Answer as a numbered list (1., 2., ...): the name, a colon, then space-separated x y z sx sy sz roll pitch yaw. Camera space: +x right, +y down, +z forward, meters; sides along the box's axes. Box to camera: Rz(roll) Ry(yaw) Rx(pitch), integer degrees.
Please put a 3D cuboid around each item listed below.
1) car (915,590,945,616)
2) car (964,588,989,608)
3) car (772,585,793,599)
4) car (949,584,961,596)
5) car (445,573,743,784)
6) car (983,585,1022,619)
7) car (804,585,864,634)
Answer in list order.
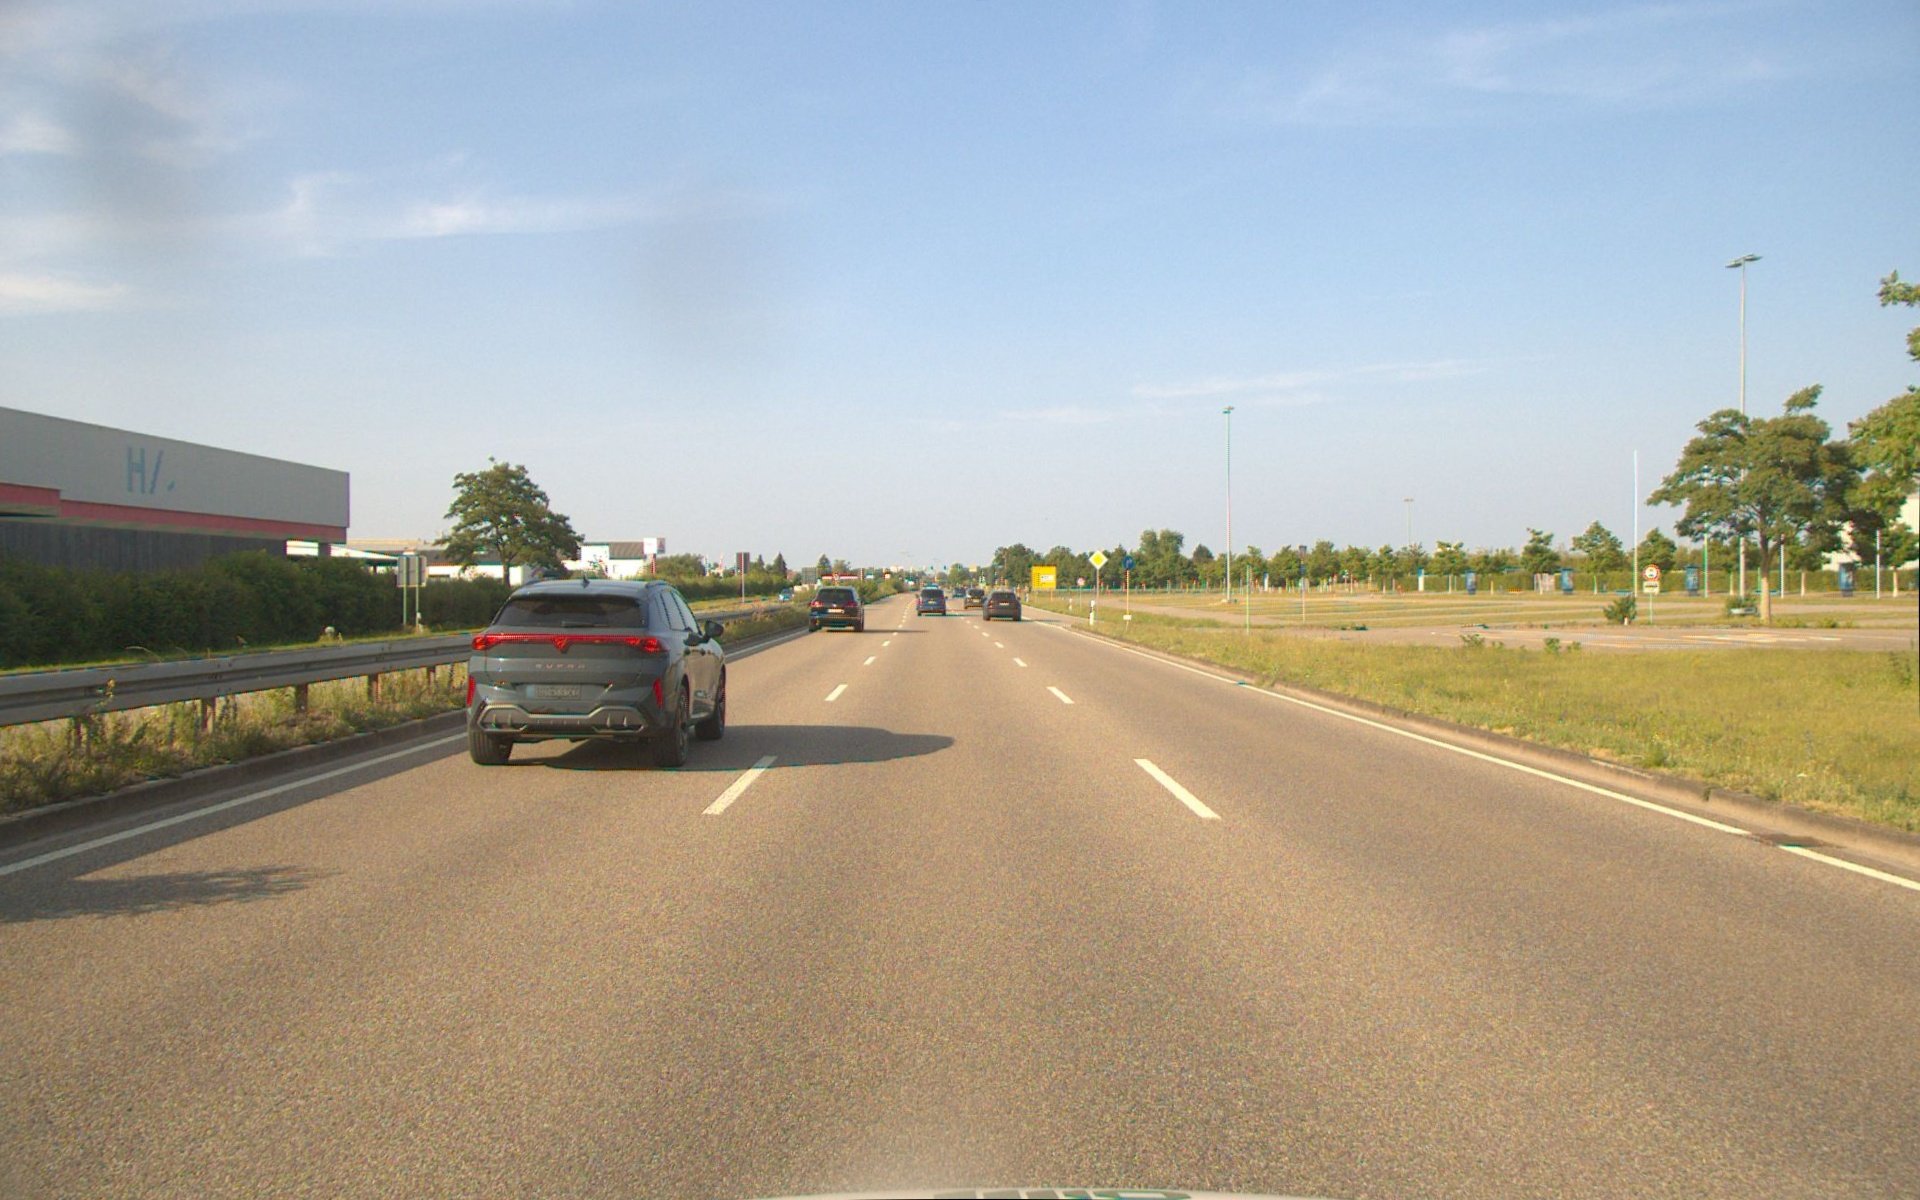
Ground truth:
1. car: -1.822 0.169 101.923 1.776 1.488 4.400 2 0 -1
2. car: 1.311 -0.205 130.934 1.835 1.488 3.980 2 0 -1
3. car: -17.899 -0.800 166.729 1.743 1.449 4.000 -1 0 0
4. car: -0.663 -1.259 205.279 1.472 1.336 3.155 2 0 -1
5. car: -3.221 0.610 15.451 1.808 1.640 4.400 2 0 -1
6. car: 2.291 0.102 89.508 1.893 1.709 4.400 2 0 -1
7. car: -4.691 0.316 62.111 1.893 1.709 4.400 2 0 -1
